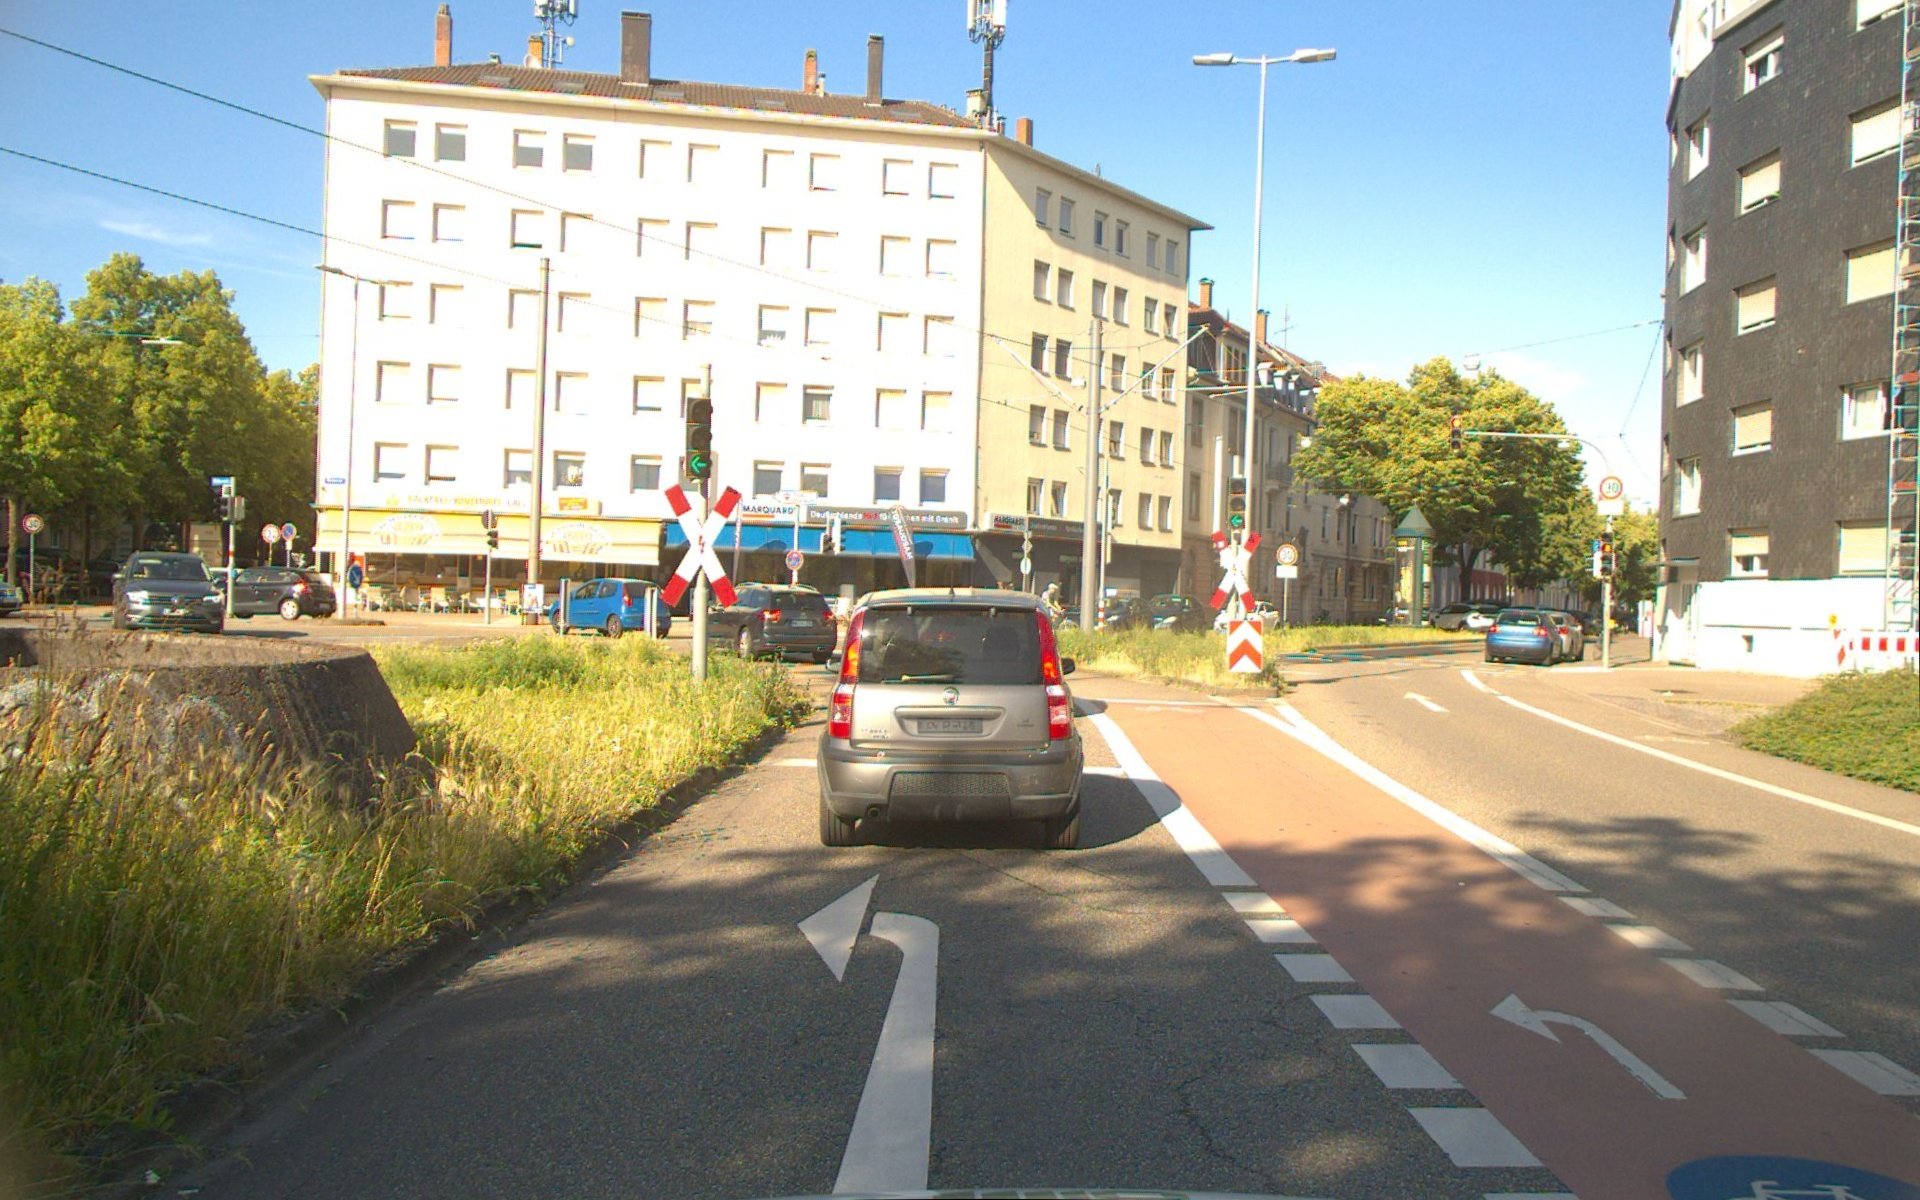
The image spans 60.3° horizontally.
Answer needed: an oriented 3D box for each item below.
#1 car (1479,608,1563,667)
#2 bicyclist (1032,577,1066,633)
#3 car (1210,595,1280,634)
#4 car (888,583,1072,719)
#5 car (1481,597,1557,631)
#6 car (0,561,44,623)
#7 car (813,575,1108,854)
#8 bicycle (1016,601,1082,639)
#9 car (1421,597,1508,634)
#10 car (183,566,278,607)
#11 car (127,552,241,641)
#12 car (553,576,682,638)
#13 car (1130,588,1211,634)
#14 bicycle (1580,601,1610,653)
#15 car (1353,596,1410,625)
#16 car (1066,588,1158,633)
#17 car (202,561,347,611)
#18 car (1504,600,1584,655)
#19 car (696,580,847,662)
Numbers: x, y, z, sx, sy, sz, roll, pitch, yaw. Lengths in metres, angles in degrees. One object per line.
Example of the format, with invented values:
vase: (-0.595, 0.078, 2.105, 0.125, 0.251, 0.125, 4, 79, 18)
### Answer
car: (15.485, 1.006, 45.592, 1.740, 1.467, 3.615, 3, 1, 25)
bicyclist: (2.600, 0.149, 48.202, 0.805, 1.586, 0.561, 2, 0, 26)
car: (11.734, 0.603, 67.933, 1.756, 1.508, 3.526, 2, 0, 28)
car: (0.149, 0.554, 20.023, 1.591, 1.454, 3.680, 2, 0, -9)
car: (32.181, 0.792, 95.239, 3.749, 1.817, 1.831, 2, 0, 41)
car: (-25.179, -0.227, 40.229, 4.768, 1.467, 1.734, 1, 0, -1)
car: (-0.127, 0.639, 10.944, 1.627, 1.536, 3.248, 2, 0, -5)
bicycle: (2.600, 0.575, 48.197, 1.815, 1.050, 0.589, 2, 0, 25)
car: (23.561, 0.711, 77.384, 1.876, 1.621, 3.978, 2, 0, -19)
car: (-25.733, -0.469, 58.480, 1.955, 1.333, 3.994, 2, 0, -7)
car: (-15.645, -0.095, 33.519, 1.728, 1.642, 4.693, 2, 0, -21)
car: (-8.808, 0.161, 42.435, 3.338, 1.463, 1.640, 2, 0, 44)
car: (7.857, 0.416, 61.458, 1.756, 1.593, 3.760, 2, 0, 28)
bicycle: (19.571, 0.821, 50.980, 0.562, 1.537, 2.804, 2, 0, 26)
car: (22.614, 0.565, 88.642, 1.956, 1.498, 3.993, 2, 0, 29)
car: (5.201, 0.348, 56.239, 1.756, 1.420, 3.719, 2, 0, 28)
car: (-19.282, -0.382, 46.537, 3.539, 1.275, 1.696, 2, 0, 20)
car: (17.693, 0.795, 50.009, 1.784, 1.534, 3.996, 2, 1, 26)
car: (-3.887, 0.385, 33.459, 1.738, 1.512, 4.259, 2, 0, -25)
